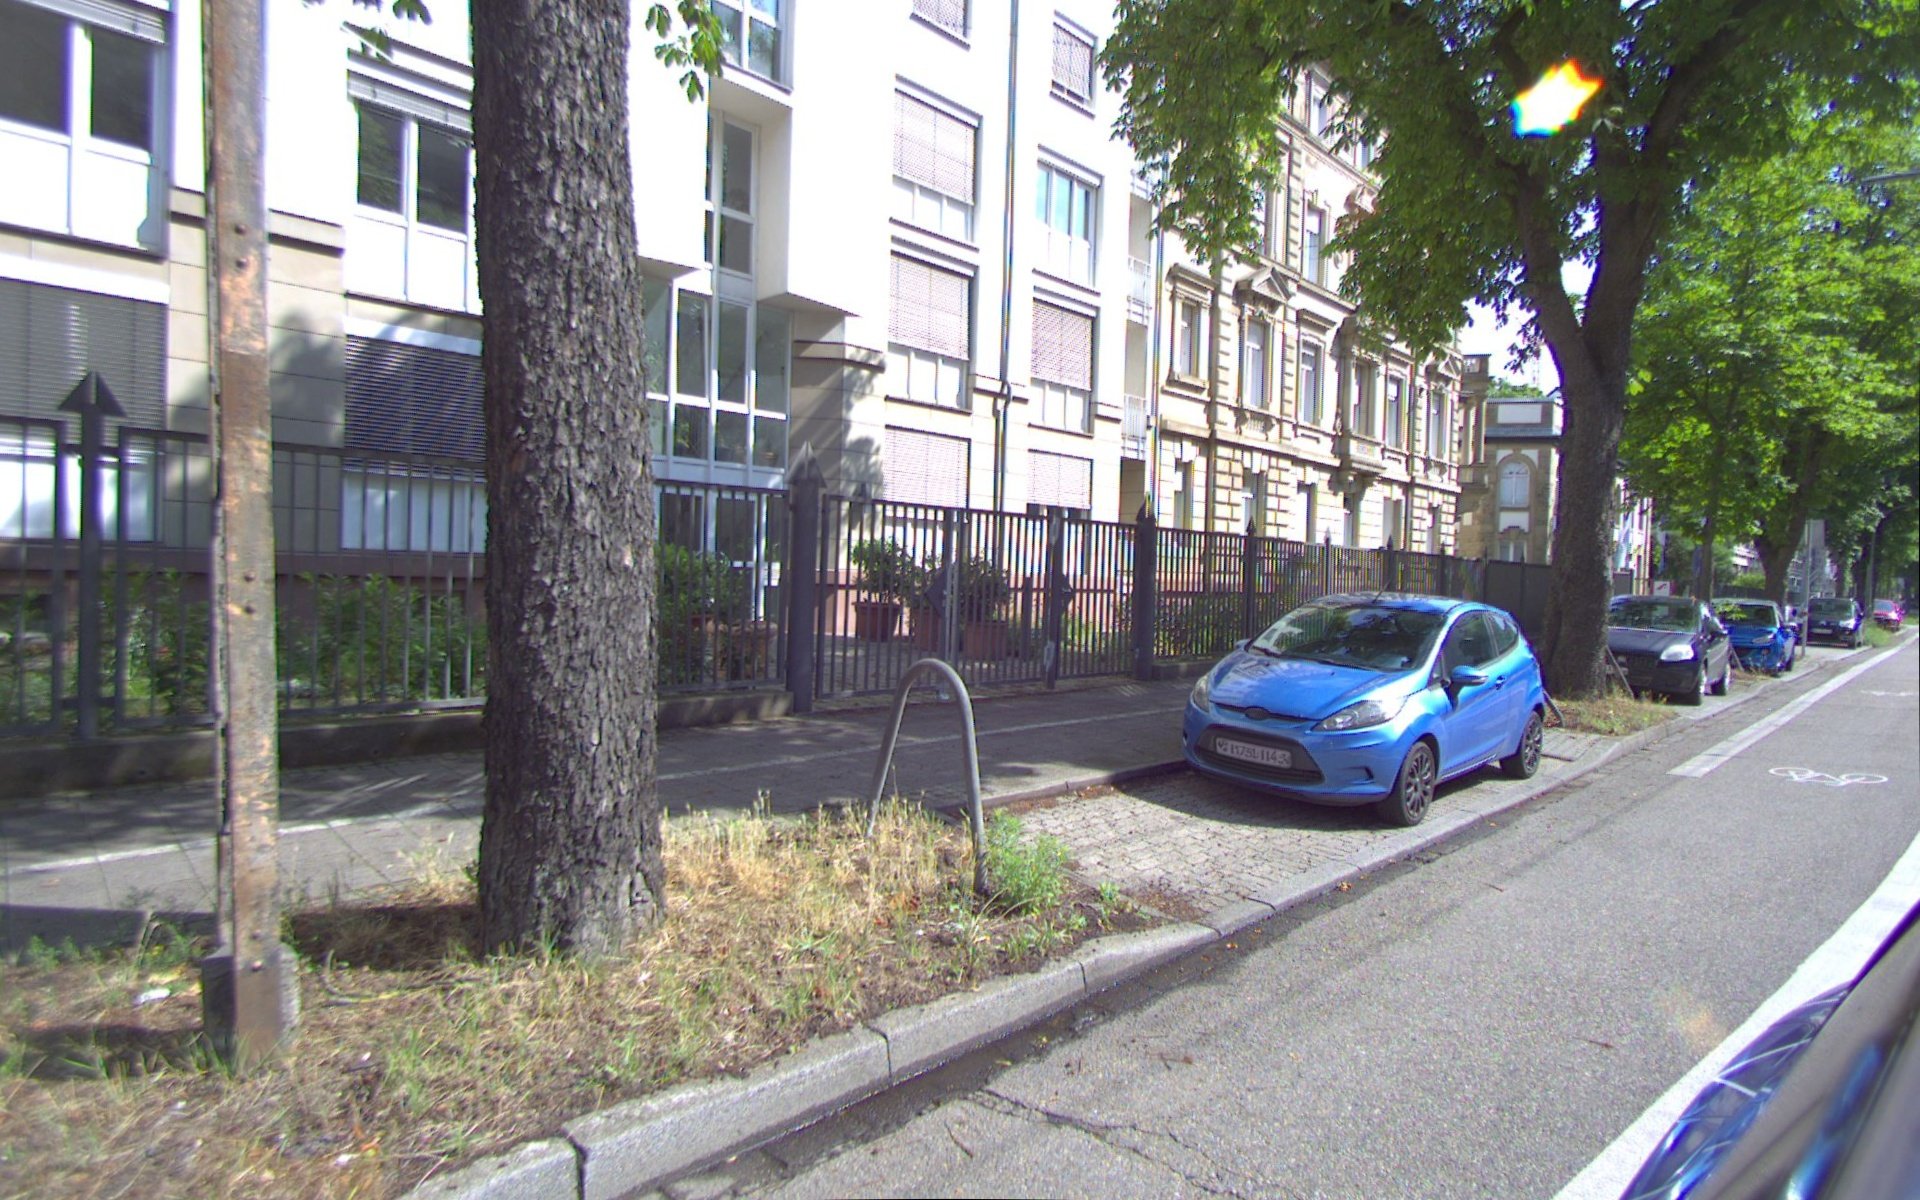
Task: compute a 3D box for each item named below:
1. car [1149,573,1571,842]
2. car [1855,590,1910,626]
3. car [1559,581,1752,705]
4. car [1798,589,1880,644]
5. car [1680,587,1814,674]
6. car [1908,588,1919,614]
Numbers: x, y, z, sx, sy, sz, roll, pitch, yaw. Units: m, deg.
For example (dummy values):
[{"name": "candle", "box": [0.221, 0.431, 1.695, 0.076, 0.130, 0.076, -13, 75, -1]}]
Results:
[{"name": "car", "box": [3.243, 0.626, 7.866, 3.601, 1.493, 1.645, 0, 5, -44]}, {"name": "car", "box": [45.208, 0.361, 49.577, 1.741, 1.592, 3.867, 7, 5, 44]}, {"name": "car", "box": [10.411, 0.541, 15.055, 1.676, 1.493, 3.602, 7, 5, 44]}, {"name": "car", "box": [29.208, 0.519, 33.580, 1.741, 1.592, 3.602, 7, 5, 44]}, {"name": "car", "box": [16.169, 0.556, 20.741, 1.676, 1.493, 3.602, 7, 5, 44]}, {"name": "car", "box": [63.107, 0.103, 65.960, 1.741, 1.592, 3.867, 7, 5, 44]}]
